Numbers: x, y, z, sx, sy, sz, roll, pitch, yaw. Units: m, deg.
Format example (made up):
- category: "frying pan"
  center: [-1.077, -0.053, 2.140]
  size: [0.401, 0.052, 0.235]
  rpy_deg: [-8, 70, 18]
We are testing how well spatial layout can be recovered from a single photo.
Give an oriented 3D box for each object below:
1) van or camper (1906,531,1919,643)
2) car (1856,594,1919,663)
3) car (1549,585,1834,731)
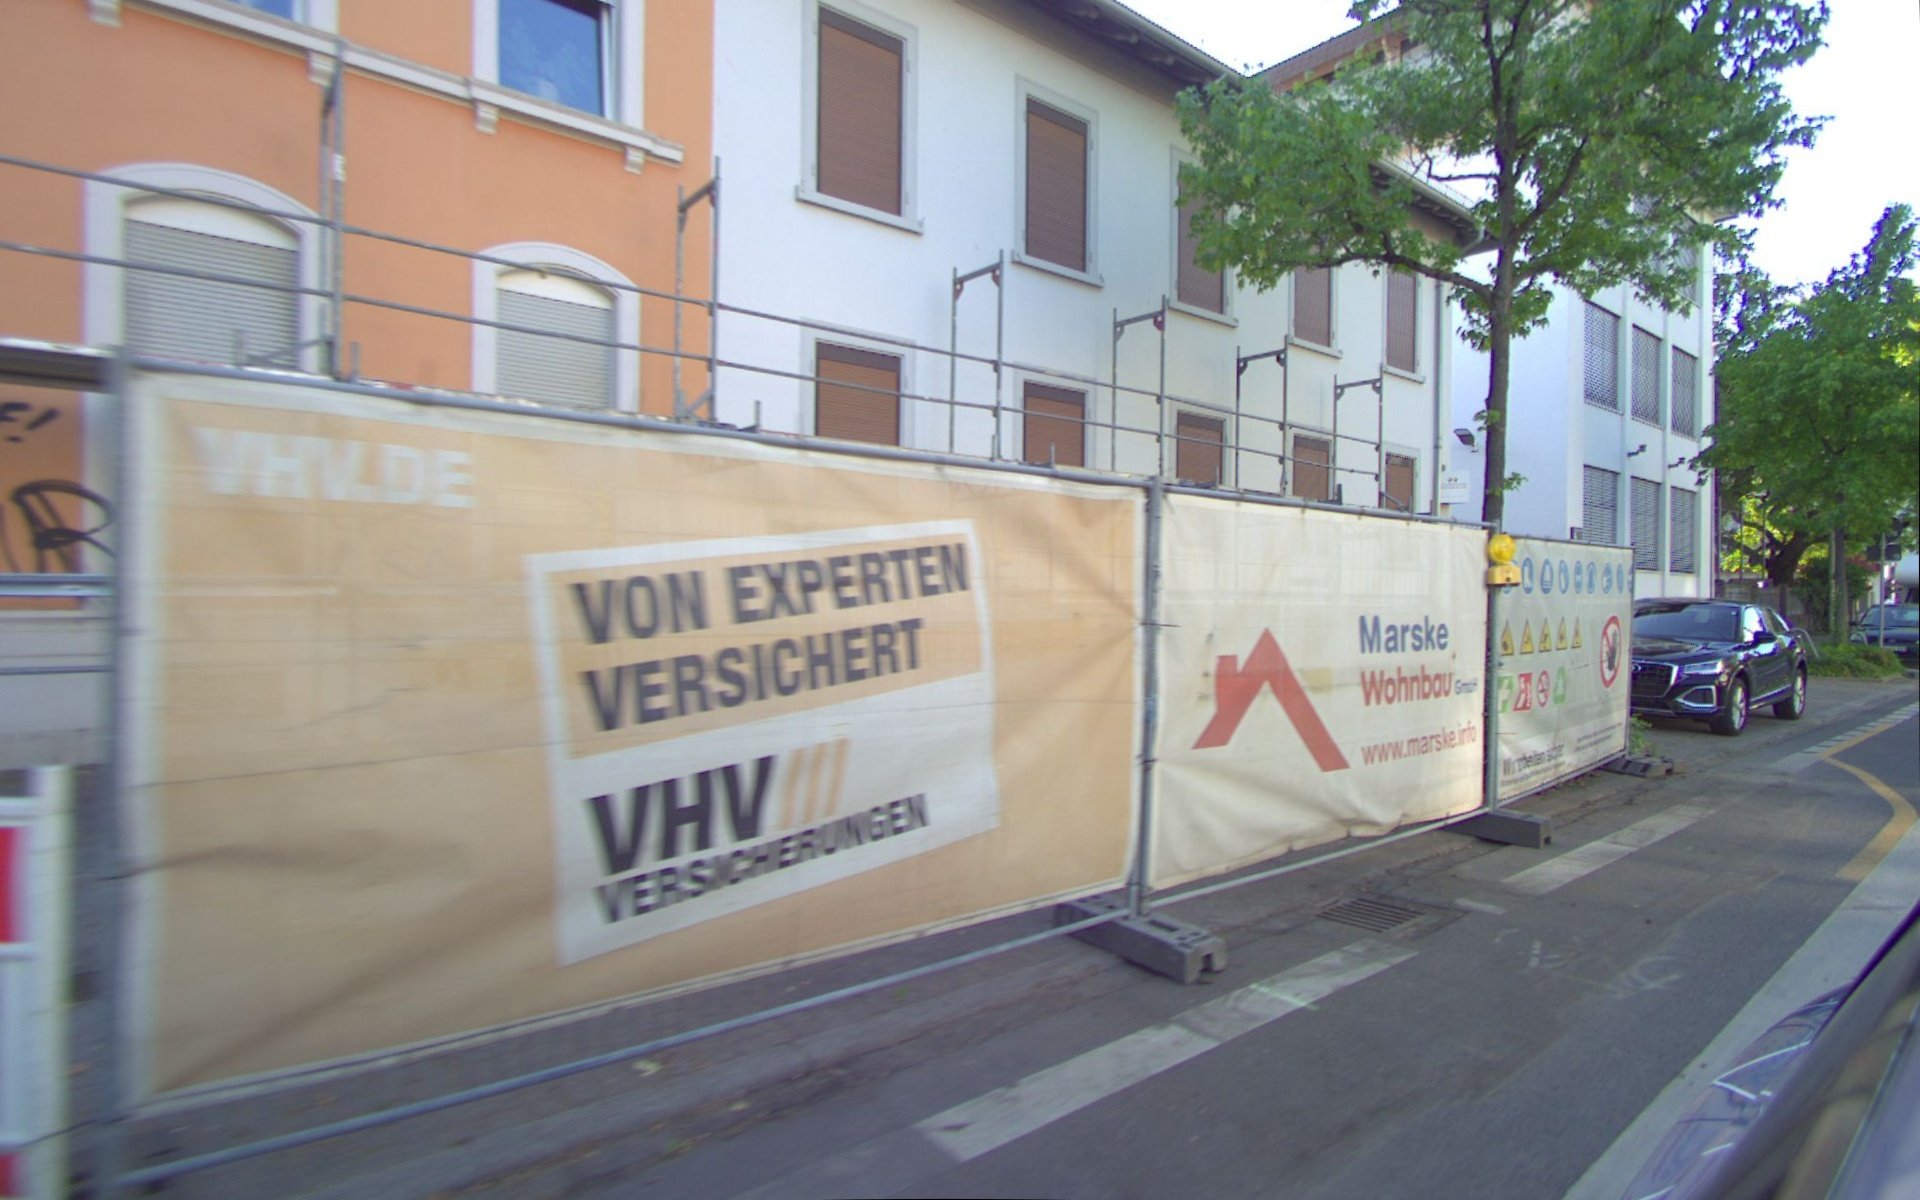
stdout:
- category: "van or camper"
  center: [29.985, -0.347, 29.765]
  size: [7.159, 3.131, 2.172]
  rpy_deg: [0, 2, -39]
- category: "car"
  center: [22.083, 0.608, 23.316]
  size: [3.734, 1.465, 1.655]
  rpy_deg: [0, 2, -41]
- category: "car"
  center: [9.194, 0.603, 12.622]
  size: [4.033, 1.502, 1.769]
  rpy_deg: [0, 2, -37]
